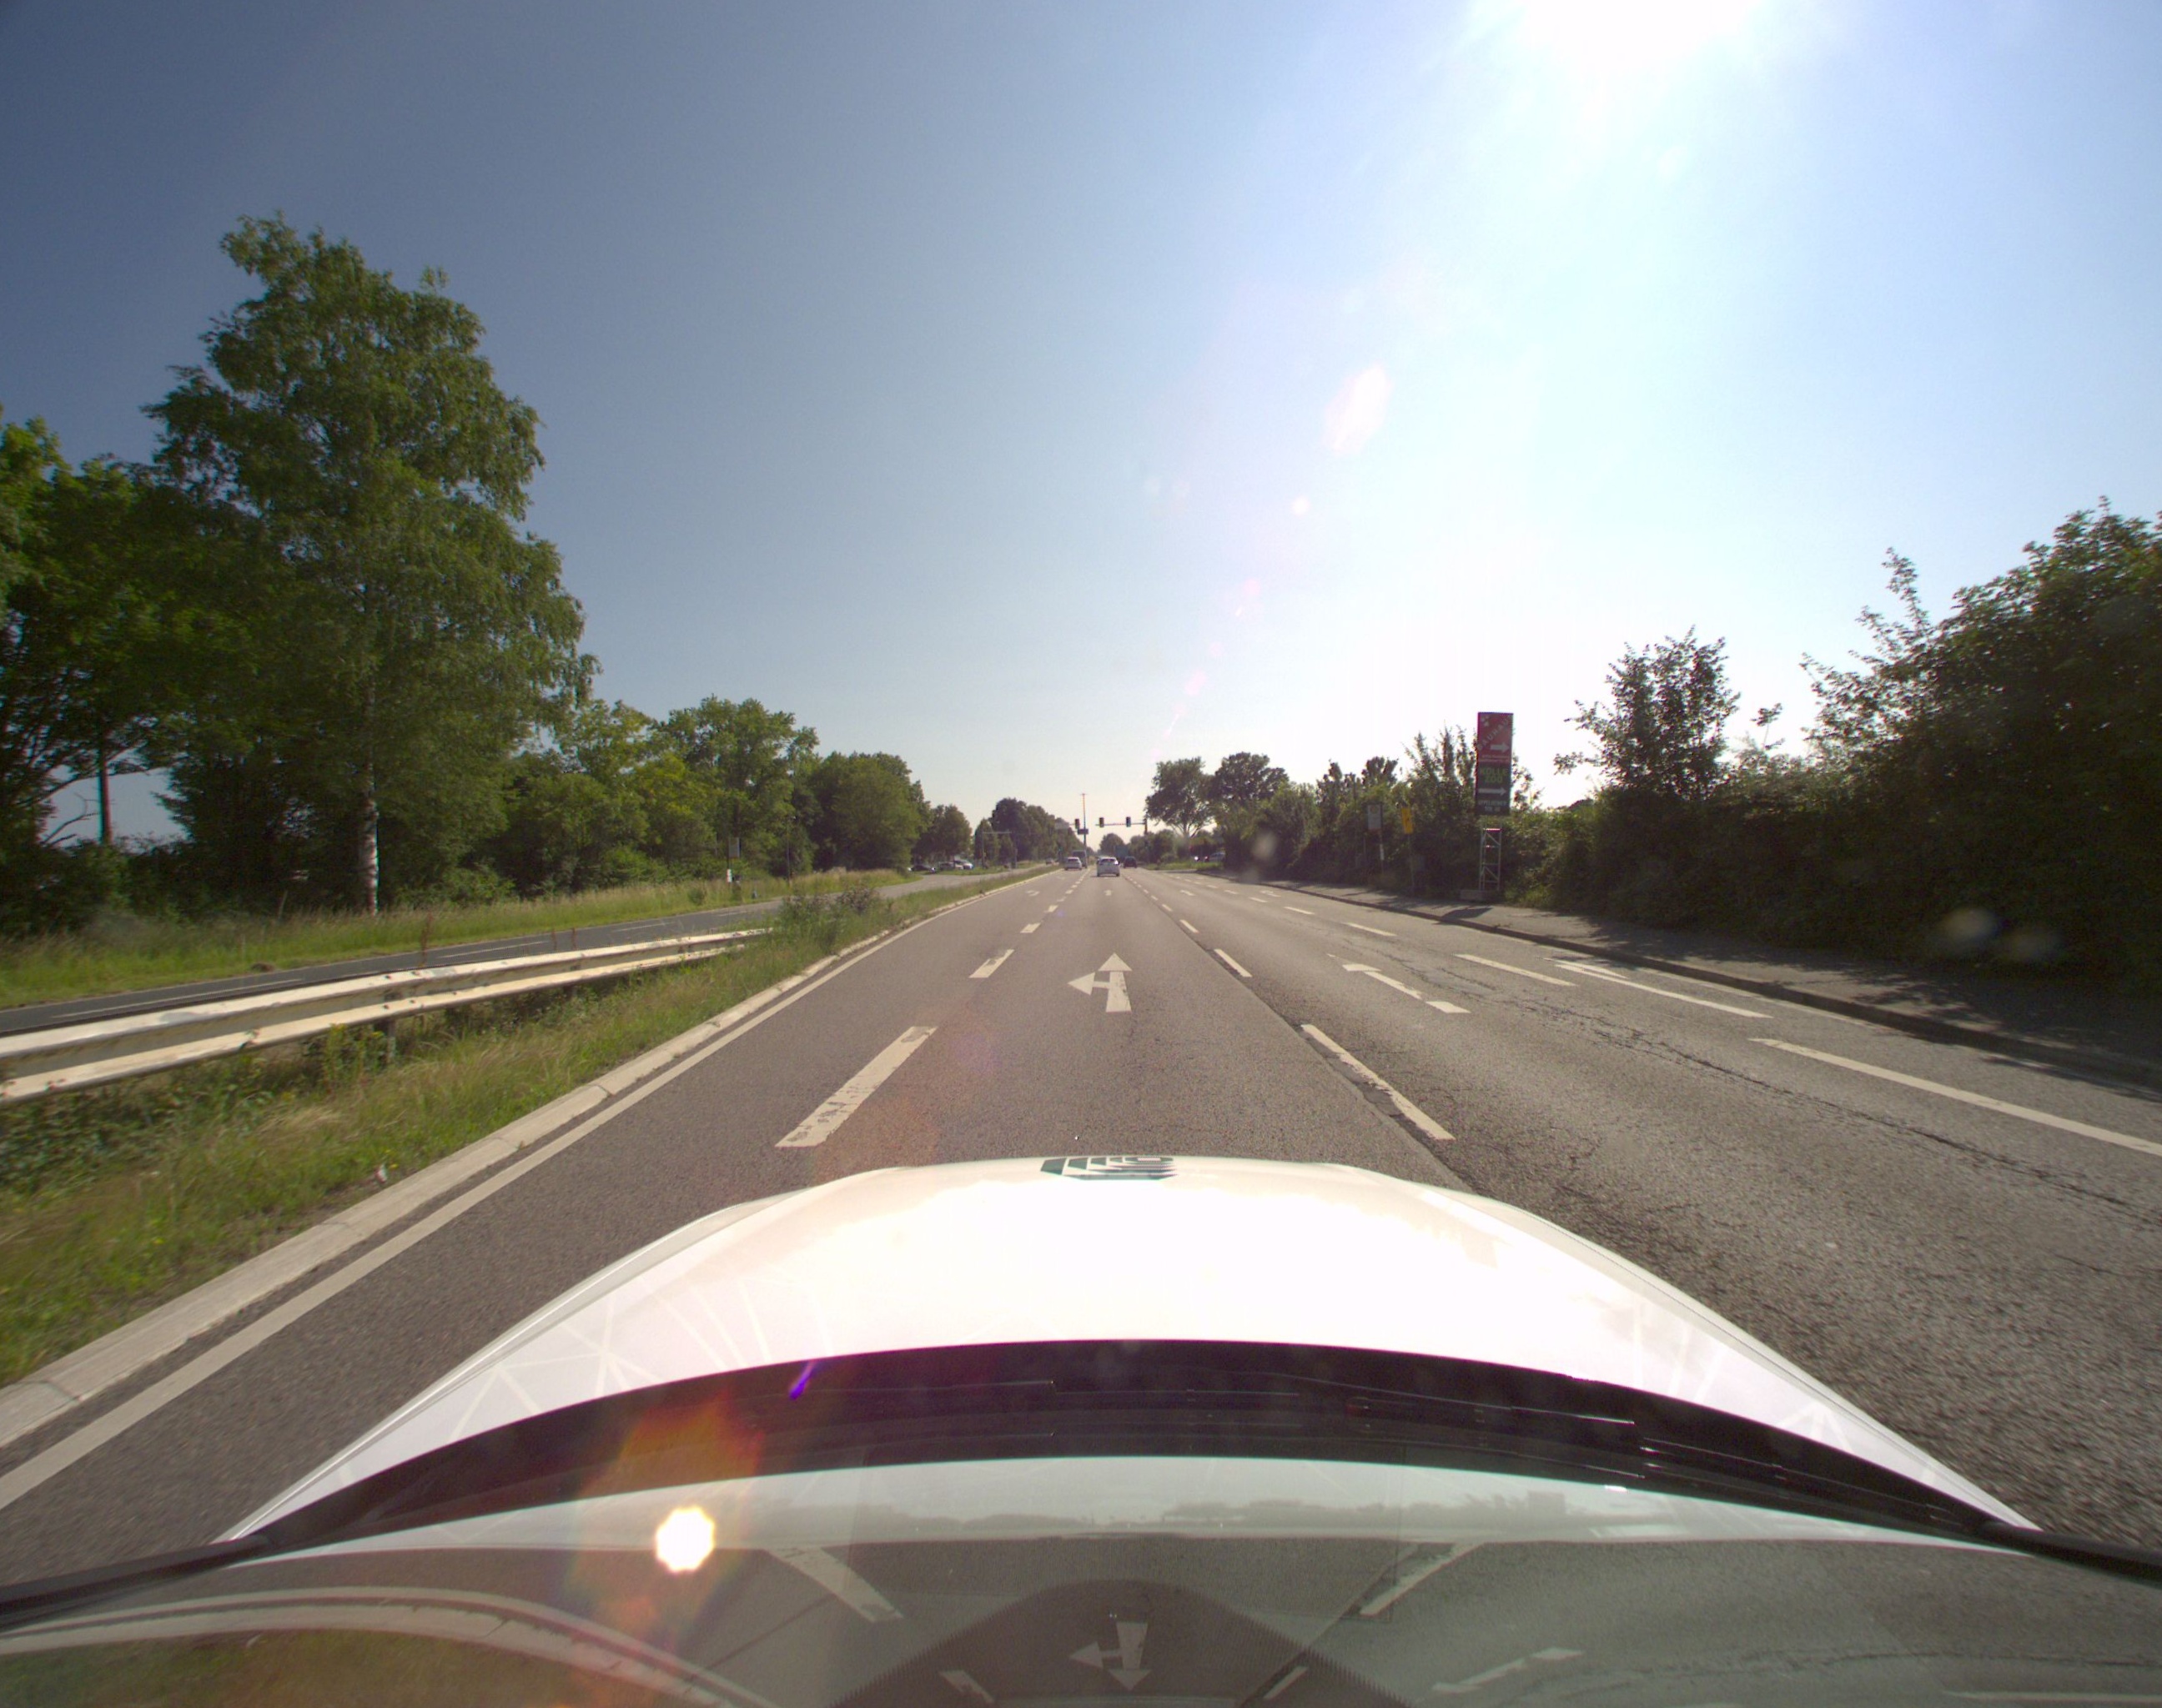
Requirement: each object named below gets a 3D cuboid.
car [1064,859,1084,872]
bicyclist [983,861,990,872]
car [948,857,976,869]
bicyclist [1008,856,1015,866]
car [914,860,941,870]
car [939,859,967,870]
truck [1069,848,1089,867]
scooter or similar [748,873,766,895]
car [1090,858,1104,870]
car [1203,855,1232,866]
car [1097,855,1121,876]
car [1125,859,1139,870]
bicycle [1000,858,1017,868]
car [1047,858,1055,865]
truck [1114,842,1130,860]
[{"bbox_3d":[-0.759,1.343,92.737,1.804,1.464,4.976,0,-1,4],"label":"car"},{"bbox_3d":[-12.762,1.643,109.873,0.842,1.517,0.748,0,0,6],"label":"bicyclist"},{"bbox_3d":[-19.960,1.547,136.809,4.595,1.950,2.013,-2,-1,36],"label":"car"},{"bbox_3d":[-11.939,1.224,140.142,0.854,1.619,0.763,0,-1,29],"label":"bicyclist"},{"bbox_3d":[-25.780,1.867,136.855,4.212,1.606,2.018,-2,-1,37],"label":"car"},{"bbox_3d":[-20.959,1.732,133.316,4.212,1.606,2.018,-2,-1,37],"label":"car"},{"bbox_3d":[-0.266,0.466,105.975,2.365,2.389,6.042,-1,0,1],"label":"truck"},{"bbox_3d":[-17.491,1.609,44.037,0.366,1.186,1.341,-3,-1,2],"label":"scooter or similar"},{"bbox_3d":[1.995,1.255,100.685,1.566,1.414,3.278,-1,-1,1],"label":"car"},{"bbox_3d":[19.234,0.905,114.650,3.707,1.469,1.796,-1,-1,29],"label":"car"},{"bbox_3d":[2.172,0.858,62.366,1.792,1.553,4.002,0,0,2],"label":"car"},{"bbox_3d":[6.335,1.332,101.592,1.566,1.414,3.278,0,-1,2],"label":"car"},{"bbox_3d":[-12.547,1.497,140.506,2.765,1.670,1.143,-2,0,28],"label":"bicycle"},{"bbox_3d":[-6.879,1.704,187.707,1.480,1.414,3.763,-3,0,1],"label":"car"},{"bbox_3d":[7.909,-0.578,159.323,2.881,3.428,9.172,-1,0,2],"label":"truck"}]
